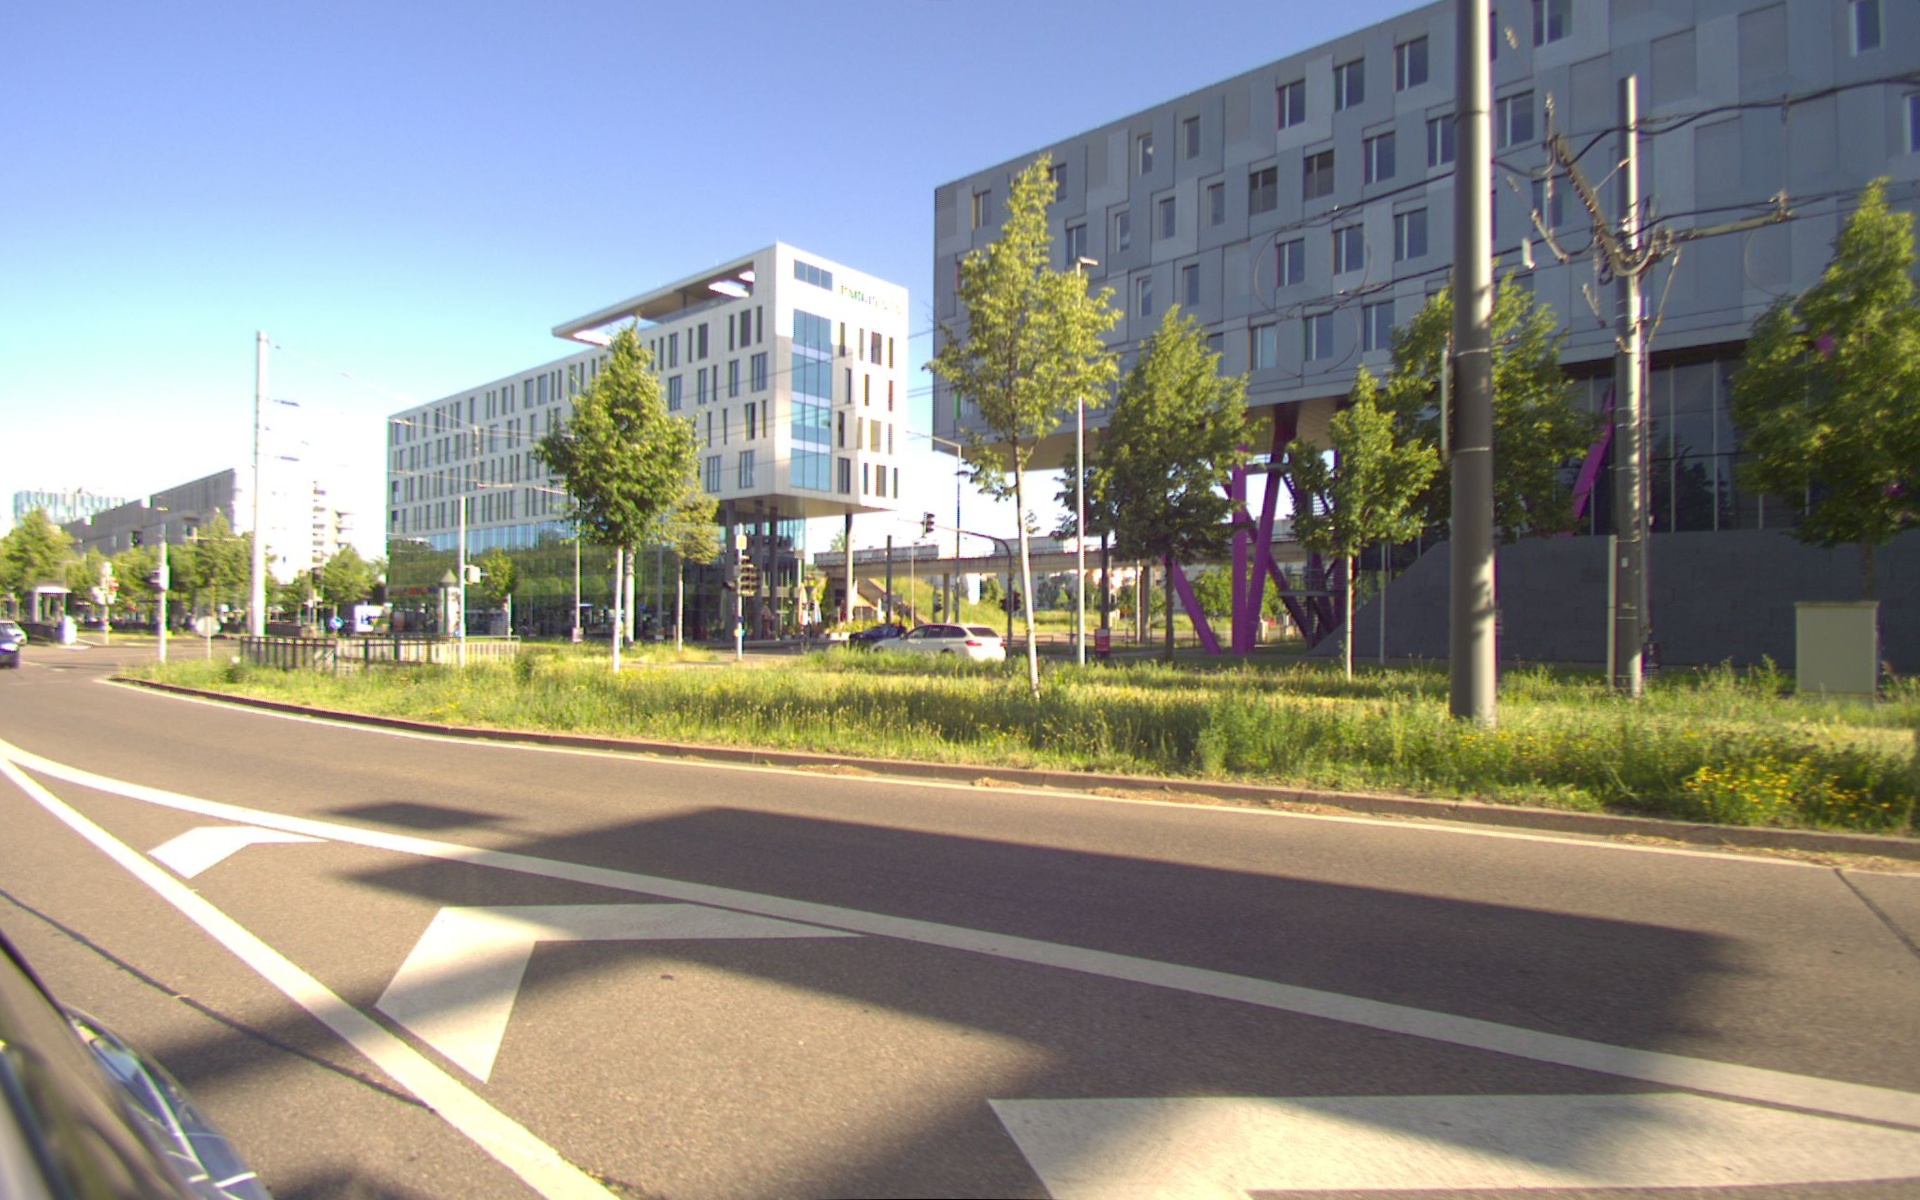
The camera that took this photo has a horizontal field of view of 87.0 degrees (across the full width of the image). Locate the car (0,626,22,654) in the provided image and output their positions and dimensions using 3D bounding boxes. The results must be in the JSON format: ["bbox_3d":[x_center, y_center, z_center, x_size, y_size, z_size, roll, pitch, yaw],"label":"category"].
[{"bbox_3d":[-52.765,2.174,55.278,4.000,1.437,1.655,-1,0,38],"label":"car"}]

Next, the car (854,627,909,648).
[{"bbox_3d":[-6.020,2.893,77.935,2.001,1.577,3.942,-2,-3,44],"label":"car"}]

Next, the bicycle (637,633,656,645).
[{"bbox_3d":[-23.528,2.946,75.871,1.833,0.869,0.522,-2,-2,42],"label":"bicycle"}]

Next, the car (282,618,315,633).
[{"bbox_3d":[-69.995,2.699,107.083,4.340,1.538,1.780,-1,0,40],"label":"car"}]

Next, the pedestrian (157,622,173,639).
[{"bbox_3d":[-69.206,2.629,88.078,1.053,1.477,0.845,0,-2,-44],"label":"pedestrian"}]

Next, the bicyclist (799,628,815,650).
[{"bbox_3d":[-11.055,2.806,73.133,0.751,1.595,0.943,-2,-2,43],"label":"bicyclist"}]

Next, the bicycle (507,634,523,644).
[{"bbox_3d":[-38.640,3.411,87.835,1.689,0.869,0.477,-2,-2,38],"label":"bicycle"}]

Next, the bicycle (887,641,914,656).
[{"bbox_3d":[-3.470,2.821,58.858,1.691,0.869,0.570,-2,-2,41],"label":"bicycle"}]

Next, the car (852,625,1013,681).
[{"bbox_3d":[-0.909,1.557,30.896,4.867,1.574,1.973,-1,-2,40],"label":"car"}]

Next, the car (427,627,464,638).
[{"bbox_3d":[-69.003,4.323,135.724,1.873,1.365,3.950,-1,0,37],"label":"car"}]

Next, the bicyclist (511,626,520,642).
[{"bbox_3d":[-38.578,2.935,87.810,0.552,1.434,0.477,-2,-2,37],"label":"bicyclist"}]

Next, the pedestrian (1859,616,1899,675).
[{"bbox_3d":[29.142,1.443,32.112,0.871,1.836,0.713,-2,-2,41],"label":"pedestrian"}]

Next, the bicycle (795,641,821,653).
[{"bbox_3d":[-11.008,3.385,73.160,0.749,0.869,1.804,-2,-2,43],"label":"bicycle"}]

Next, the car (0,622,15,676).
[{"bbox_3d":[-29.586,1.451,30.032,4.340,1.538,1.780,-1,0,40],"label":"car"}]

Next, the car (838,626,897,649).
[{"bbox_3d":[-6.651,2.697,73.096,2.001,1.577,3.942,-2,-3,44],"label":"car"}]

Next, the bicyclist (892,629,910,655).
[{"bbox_3d":[-3.440,2.438,58.838,0.958,1.446,0.564,-2,-2,41],"label":"bicyclist"}]

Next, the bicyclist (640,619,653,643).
[{"bbox_3d":[-23.514,2.324,75.875,0.837,1.739,0.524,-2,-2,42],"label":"bicyclist"}]
